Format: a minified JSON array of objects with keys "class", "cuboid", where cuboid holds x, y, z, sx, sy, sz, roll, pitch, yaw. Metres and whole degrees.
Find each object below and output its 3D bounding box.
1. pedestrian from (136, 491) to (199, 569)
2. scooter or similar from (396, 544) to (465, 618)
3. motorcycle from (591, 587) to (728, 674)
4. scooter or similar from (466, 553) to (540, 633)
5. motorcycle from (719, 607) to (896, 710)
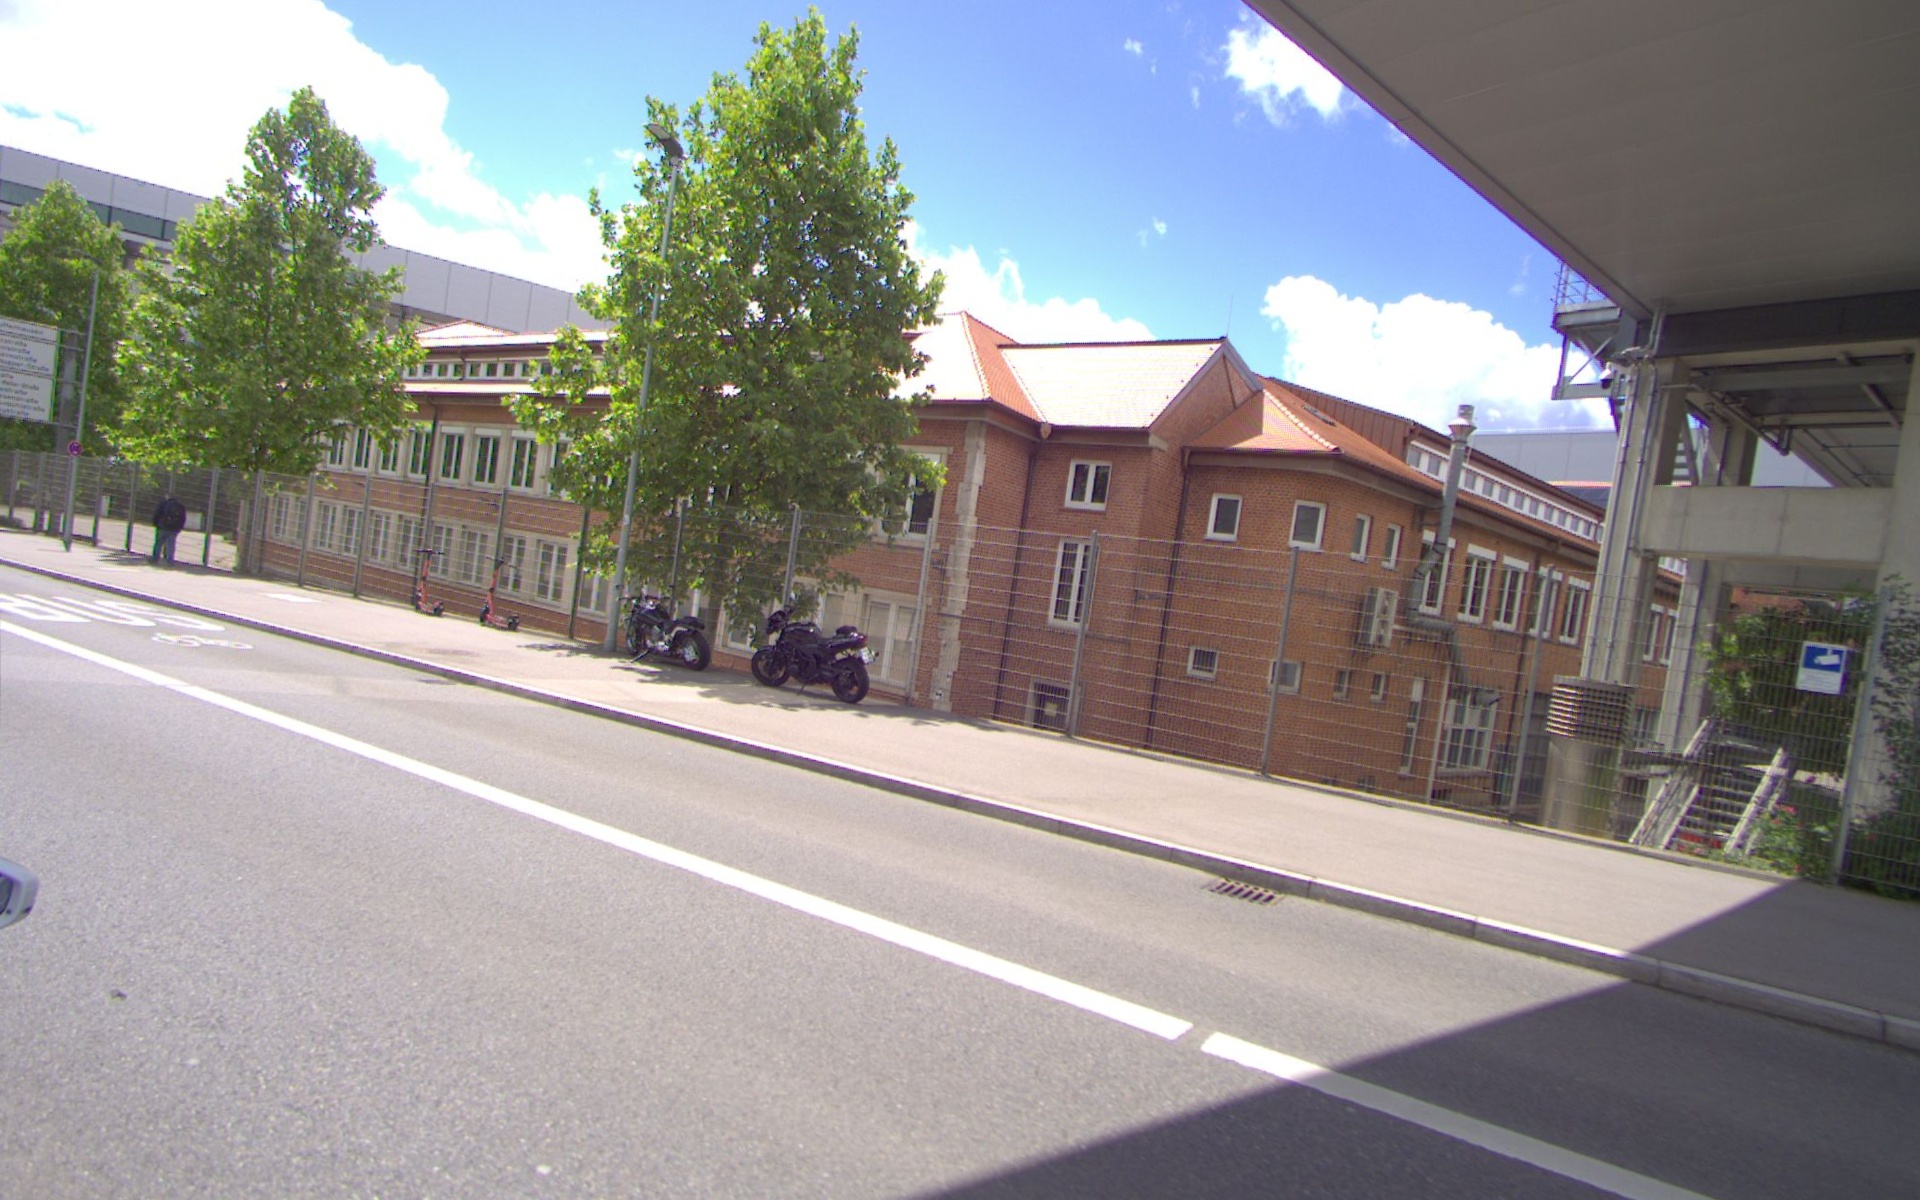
[{"class":"pedestrian","cuboid":[-19.523,-1.714,24.778,0.925,1.766,0.877,7,2,32]},{"class":"scooter or similar","cuboid":[-10.365,-0.374,19.683,1.314,1.311,0.491,7,2,32]},{"class":"motorcycle","cuboid":[-4.664,0.446,15.542,2.210,1.078,0.668,7,3,32]},{"class":"scooter or similar","cuboid":[-8.367,-0.131,18.417,1.314,1.311,0.491,7,2,32]},{"class":"motorcycle","cuboid":[-2.126,0.767,13.826,2.469,1.078,0.707,7,3,32]}]
